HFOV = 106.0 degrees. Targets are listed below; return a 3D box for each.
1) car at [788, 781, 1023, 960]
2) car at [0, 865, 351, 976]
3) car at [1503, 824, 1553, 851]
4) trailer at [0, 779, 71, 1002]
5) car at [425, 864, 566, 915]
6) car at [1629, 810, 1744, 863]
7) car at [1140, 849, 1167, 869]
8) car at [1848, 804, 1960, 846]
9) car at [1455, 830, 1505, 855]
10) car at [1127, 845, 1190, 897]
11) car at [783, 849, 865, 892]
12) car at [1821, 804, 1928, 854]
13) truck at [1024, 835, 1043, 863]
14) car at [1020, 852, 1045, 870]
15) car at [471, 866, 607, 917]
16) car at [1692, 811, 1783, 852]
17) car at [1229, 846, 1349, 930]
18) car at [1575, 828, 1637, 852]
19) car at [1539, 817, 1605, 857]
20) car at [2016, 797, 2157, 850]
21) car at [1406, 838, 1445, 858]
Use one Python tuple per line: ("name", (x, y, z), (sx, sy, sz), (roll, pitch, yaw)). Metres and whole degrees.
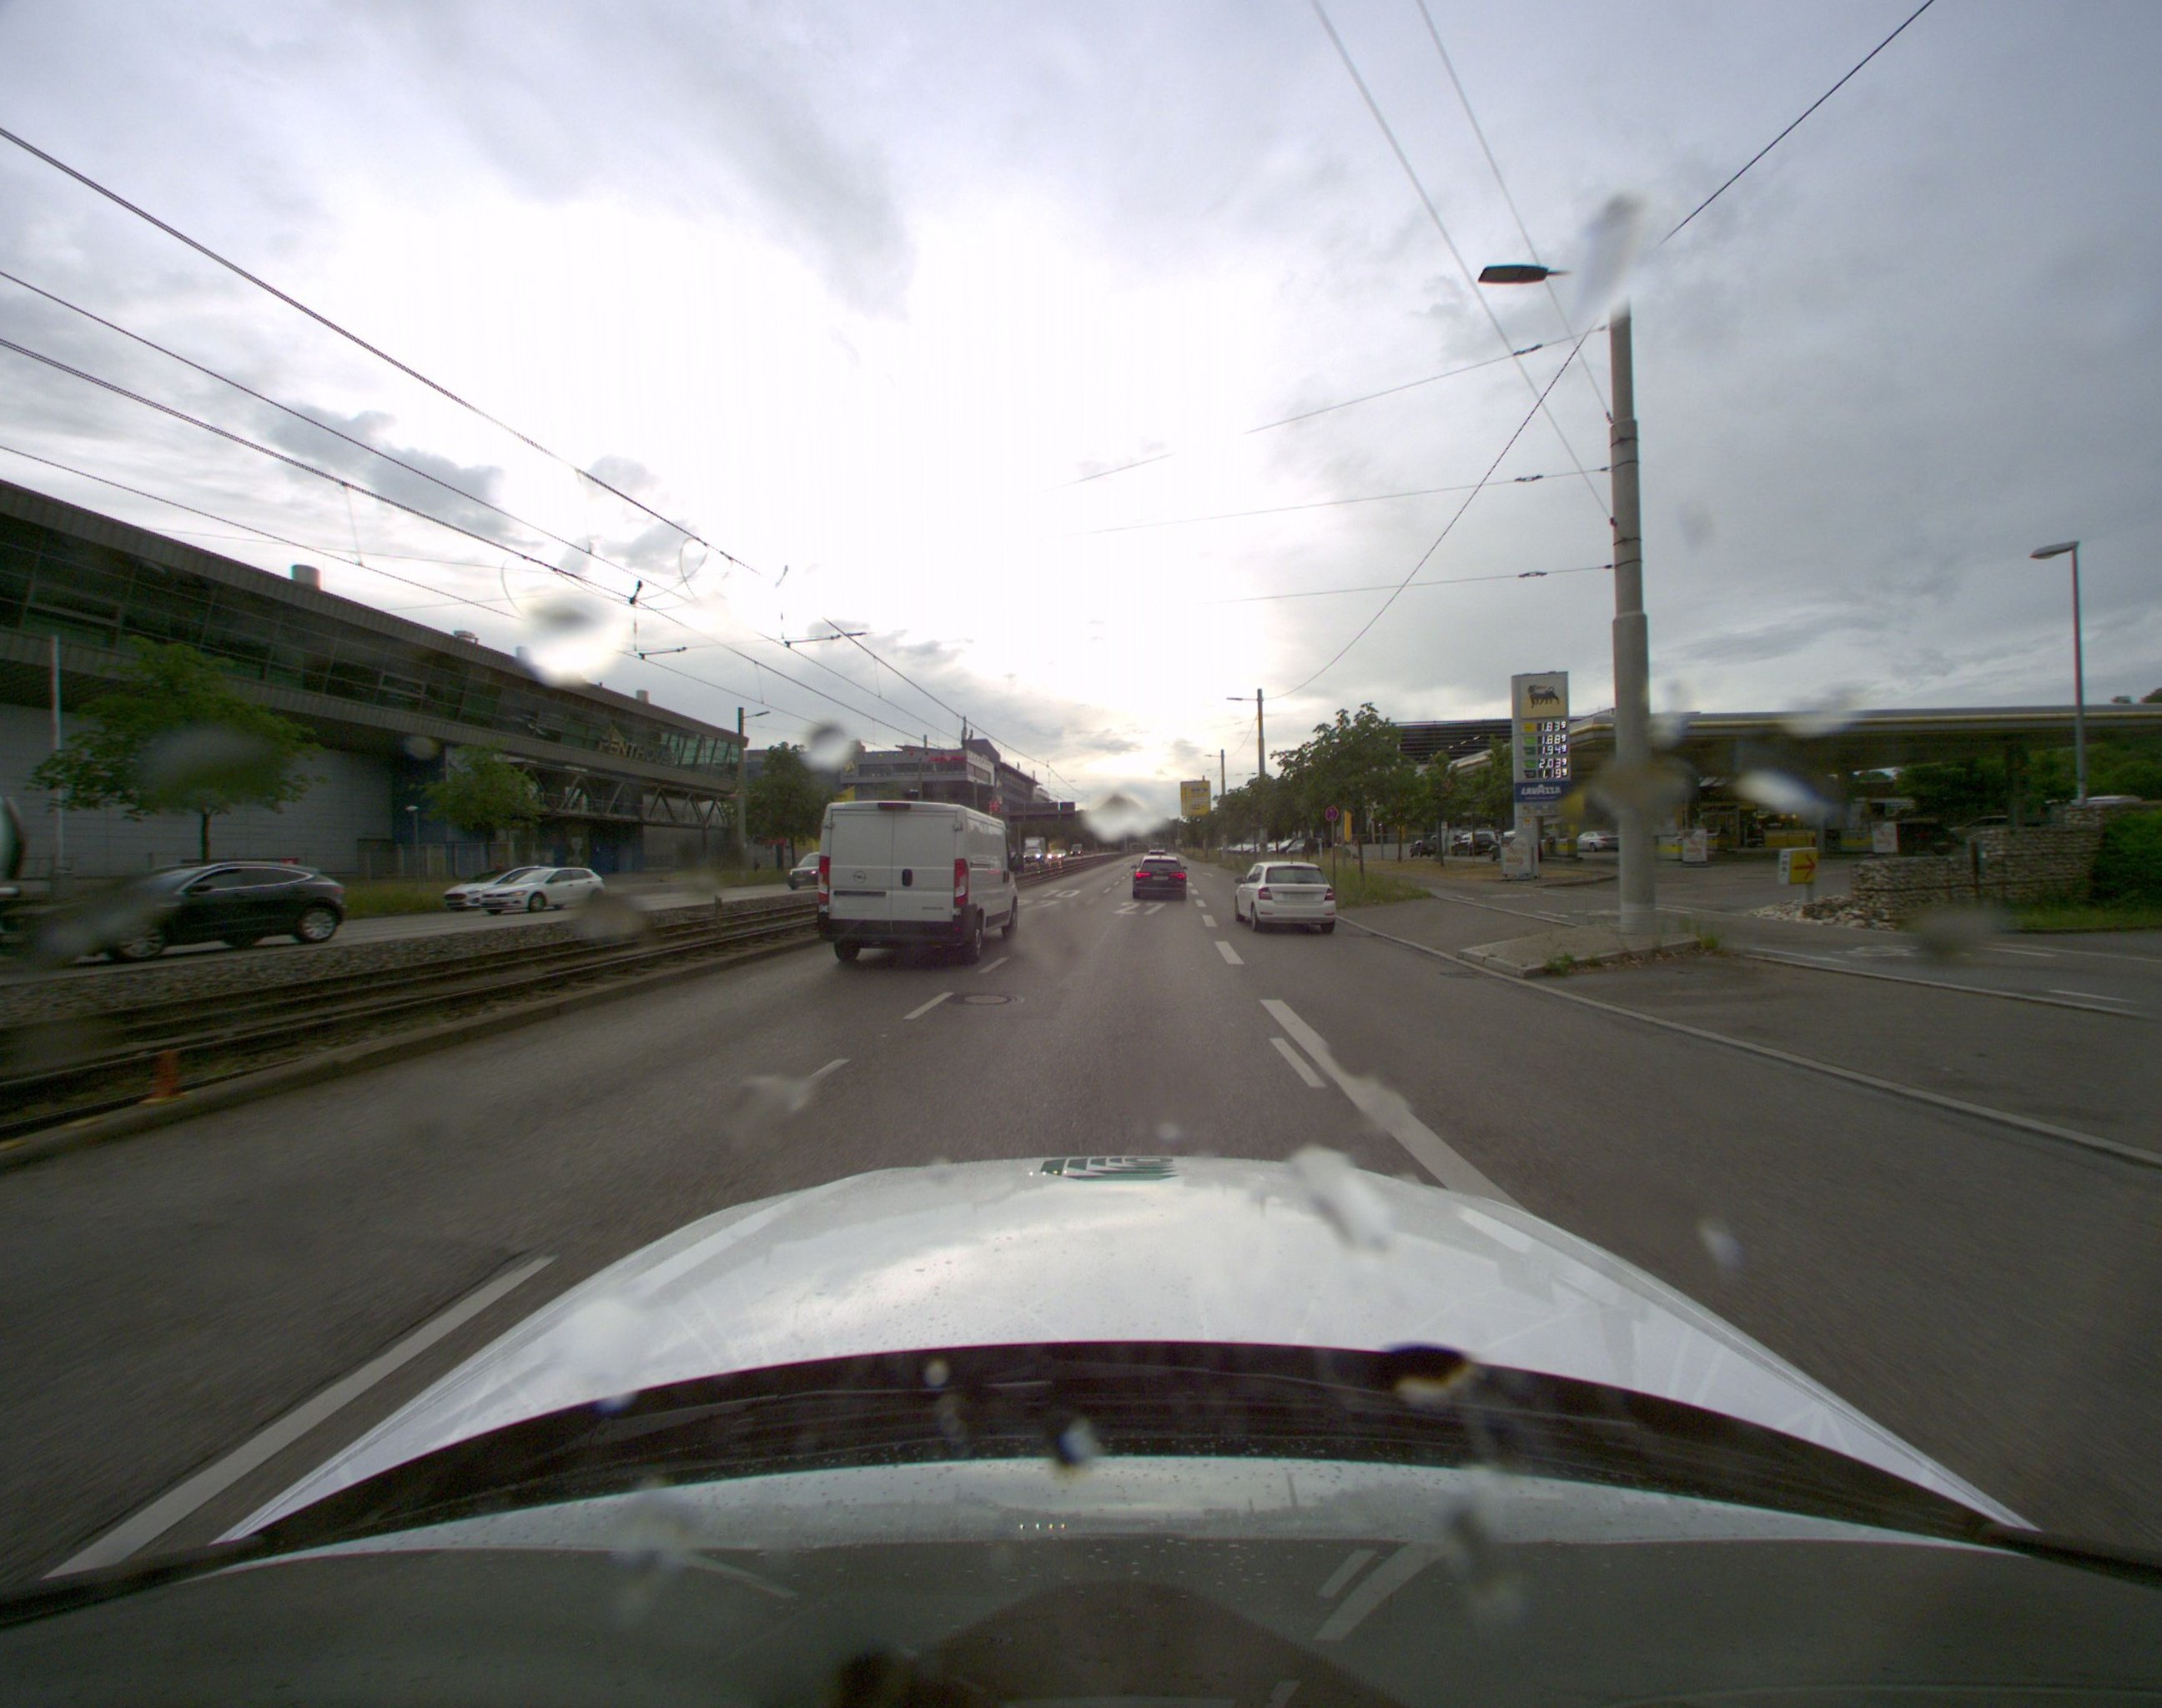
("car", (-2.434, 0.204, 12.925), (2.435, 2.294, 4.908), (0, 0, 3))
("car", (-16.228, 1.057, 14.752), (1.912, 1.653, 4.206), (0, 0, 8))
("car", (35.357, -1.279, 64.521), (1.984, 2.013, 4.005), (-1, 0, 5))
("trailer", (-20.763, 0.653, 9.543), (2.708, 3.854, 11.257), (-3, -1, 9))
("car", (-23.590, 1.366, 33.088), (1.790, 1.819, 4.744), (-1, 0, 9))
("car", (25.256, -0.682, 34.159), (1.985, 2.032, 4.004), (-2, 0, 4))
("car", (5.386, 0.378, 60.350), (1.884, 1.465, 3.915), (-1, -1, 6))
("car", (43.621, -1.489, 43.281), (1.986, 2.013, 4.002), (1, 0, 2))
("car", (29.203, -0.855, 59.784), (1.984, 1.728, 4.005), (-1, 0, 5))
("car", (2.660, 0.558, 28.156), (1.984, 1.637, 4.005), (1, 0, 5))
("car", (-12.459, 0.758, 39.818), (1.790, 1.928, 4.815), (-1, 0, 9))
("car", (33.761, -1.008, 34.760), (1.667, 2.013, 3.142), (1, 0, 5))
("truck", (-6.451, -0.665, 111.087), (2.152, 3.645, 6.872), (1, 0, -1))
("car", (-5.225, 0.737, 88.485), (2.150, 1.885, 4.305), (1, 0, 3))
("car", (-18.091, 1.214, 27.439), (1.555, 1.510, 3.998), (-1, 0, 7))
("car", (34.934, -1.157, 43.463), (1.863, 2.013, 3.775), (1, 0, 2))
("car", (4.483, 0.695, 18.137), (1.821, 1.656, 4.003), (0, 0, 3))
("car", (36.632, -0.957, 56.916), (1.984, 1.596, 4.006), (-1, 0, 5))
("car", (26.182, -0.880, 43.542), (1.670, 2.013, 3.548), (1, 0, 7))
("car", (42.755, -1.241, 34.742), (1.684, 2.114, 3.555), (1, 0, 2))
("car", (28.280, -0.471, 66.890), (1.783, 1.591, 4.005), (-1, 0, 5))
